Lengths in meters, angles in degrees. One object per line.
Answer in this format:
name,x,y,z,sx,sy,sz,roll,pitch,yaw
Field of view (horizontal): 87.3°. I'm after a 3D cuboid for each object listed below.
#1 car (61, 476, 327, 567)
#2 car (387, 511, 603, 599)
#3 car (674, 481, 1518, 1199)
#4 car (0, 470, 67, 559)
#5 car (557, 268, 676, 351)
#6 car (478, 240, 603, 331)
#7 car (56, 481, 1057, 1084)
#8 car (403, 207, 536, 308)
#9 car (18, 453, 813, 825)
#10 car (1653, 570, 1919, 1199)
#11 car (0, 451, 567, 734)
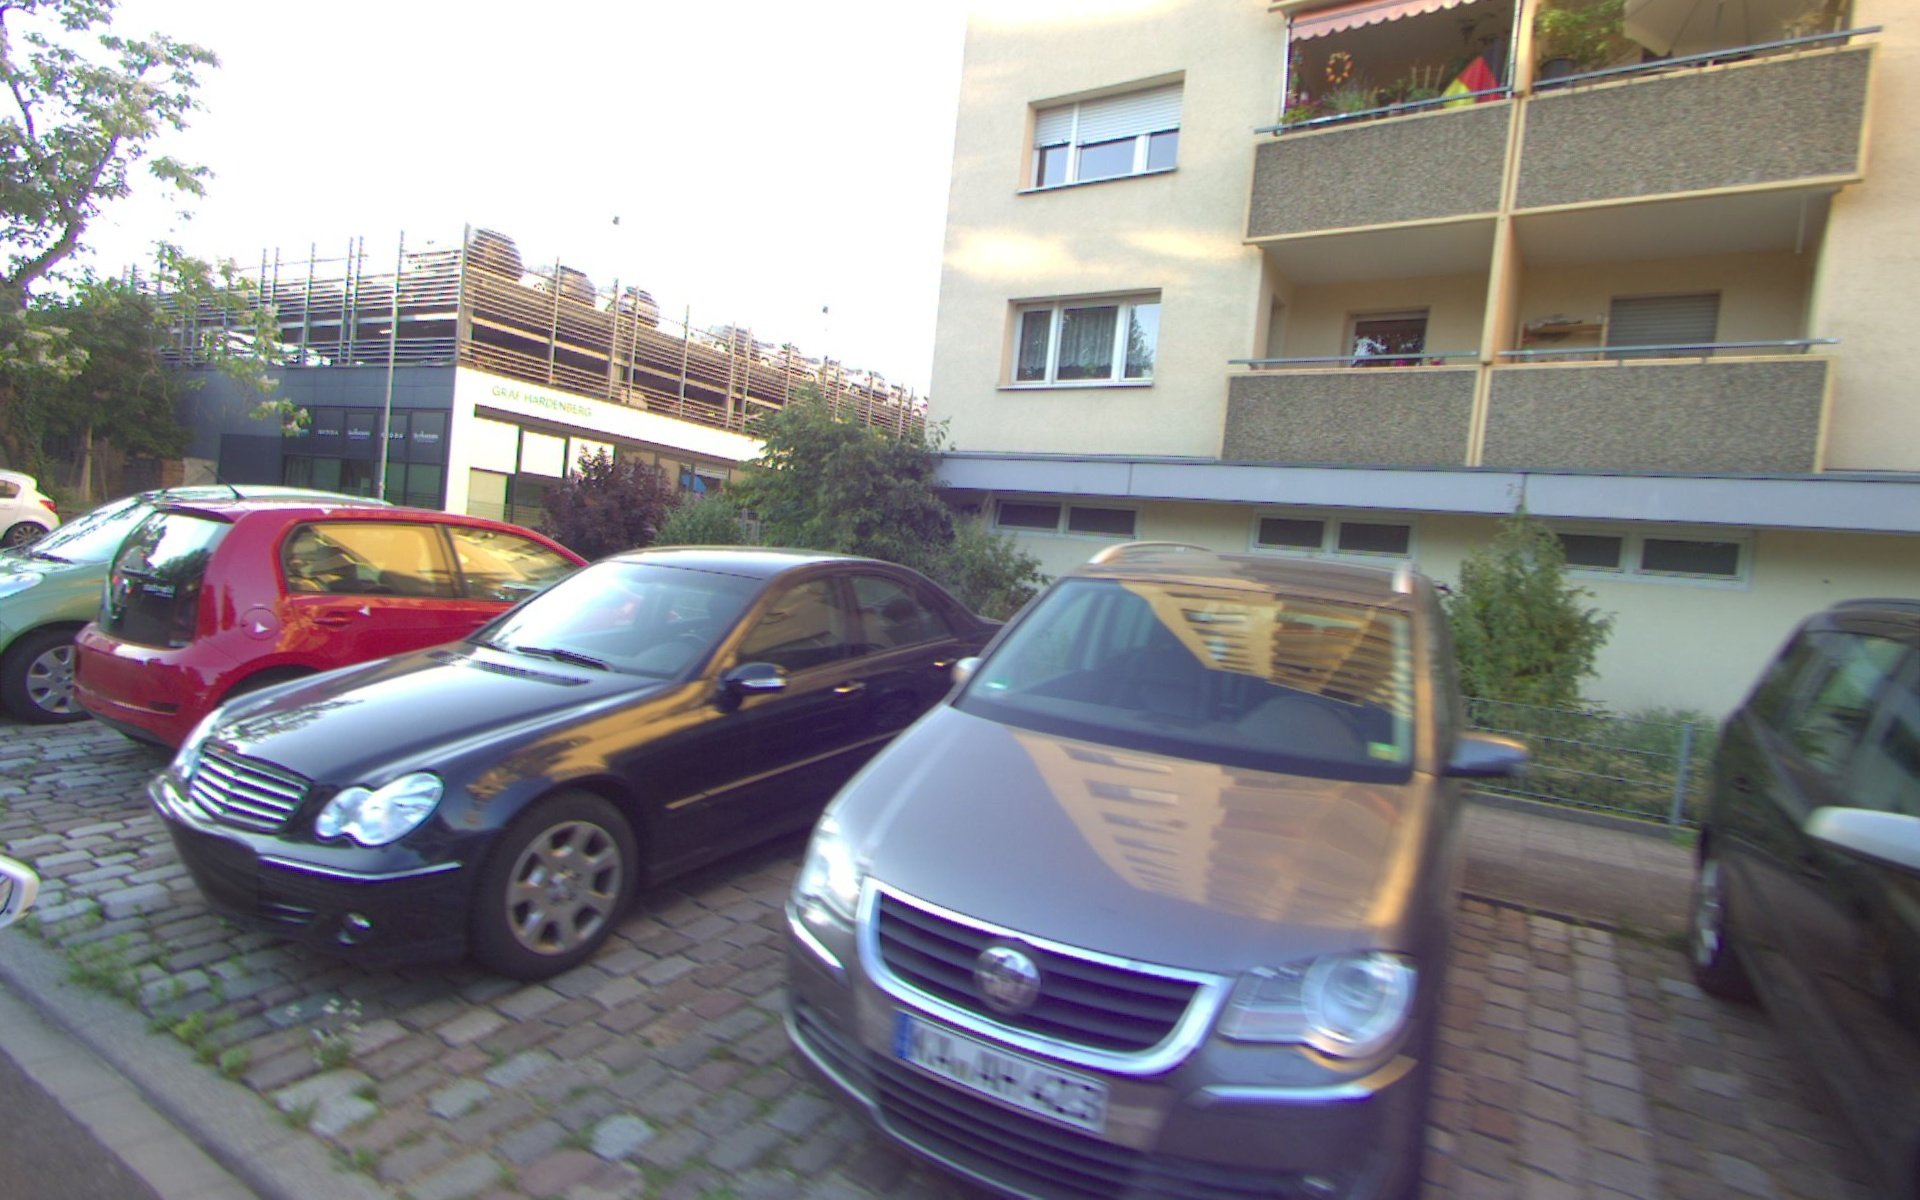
car,-16.706,-1.667,22.146,1.794,1.523,4.289,7,2,35
car,-10.028,-0.928,21.919,1.794,1.544,3.834,7,2,35
car,1.130,0.583,4.082,1.814,1.684,4.404,4,3,28
car,-19.314,-1.786,18.498,1.924,1.594,3.860,7,1,29
car,-12.292,-10.285,35.926,3.938,2.039,1.993,6,1,36
car,-14.121,-10.498,33.844,3.938,2.039,1.993,6,1,36
car,-1.259,0.459,4.964,1.814,1.551,4.406,4,1,28
car,-15.452,-10.681,31.643,3.938,2.039,1.993,6,1,36
car,-3.188,0.064,6.853,1.816,1.655,4.397,7,5,33
car,3.093,0.829,2.435,1.751,1.684,4.326,5,3,28
car,-5.537,-0.066,7.887,1.814,1.653,4.406,4,1,28
